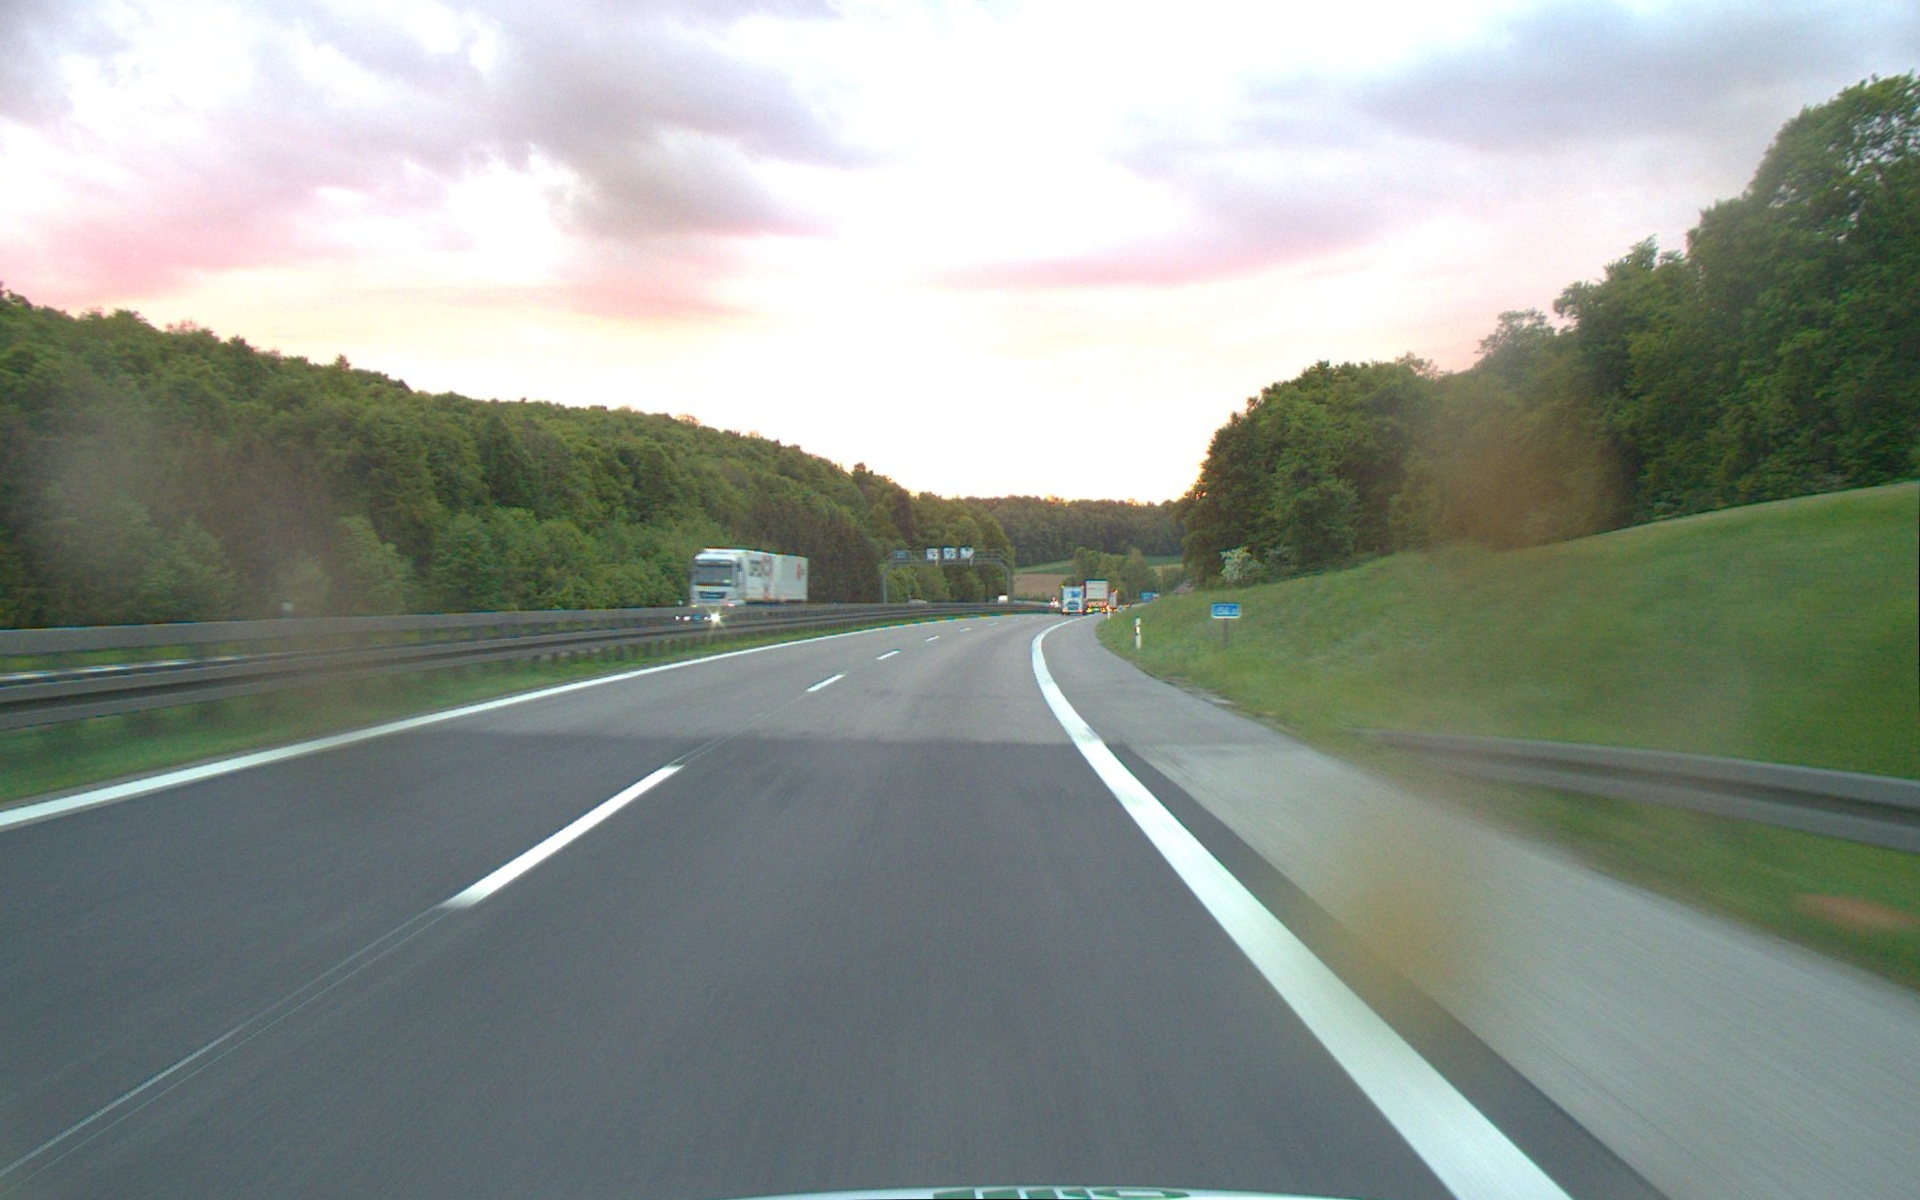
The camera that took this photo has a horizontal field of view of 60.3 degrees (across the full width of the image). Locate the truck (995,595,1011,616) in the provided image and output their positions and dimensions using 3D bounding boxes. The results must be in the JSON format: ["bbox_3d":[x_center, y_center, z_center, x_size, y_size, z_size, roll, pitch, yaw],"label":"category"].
[{"bbox_3d":[6.761,0.838,258.556,1.951,3.121,5.598,0,0,6],"label":"truck"}]

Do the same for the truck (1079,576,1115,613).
[{"bbox_3d":[17.411,-0.798,209.986,3.874,4.361,14.335,-1,1,7],"label":"truck"}]

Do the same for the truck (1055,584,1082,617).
[{"bbox_3d":[10.182,0.023,154.985,2.228,2.711,5.241,-2,2,6],"label":"truck"}]

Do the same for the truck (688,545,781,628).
[{"bbox_3d":[-12.450,-0.723,92.354,2.804,4.355,10.073,0,0,6],"label":"truck"}]

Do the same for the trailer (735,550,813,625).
[{"bbox_3d":[-11.388,-0.767,101.992,2.771,4.392,9.300,0,0,6],"label":"trailer"}]
